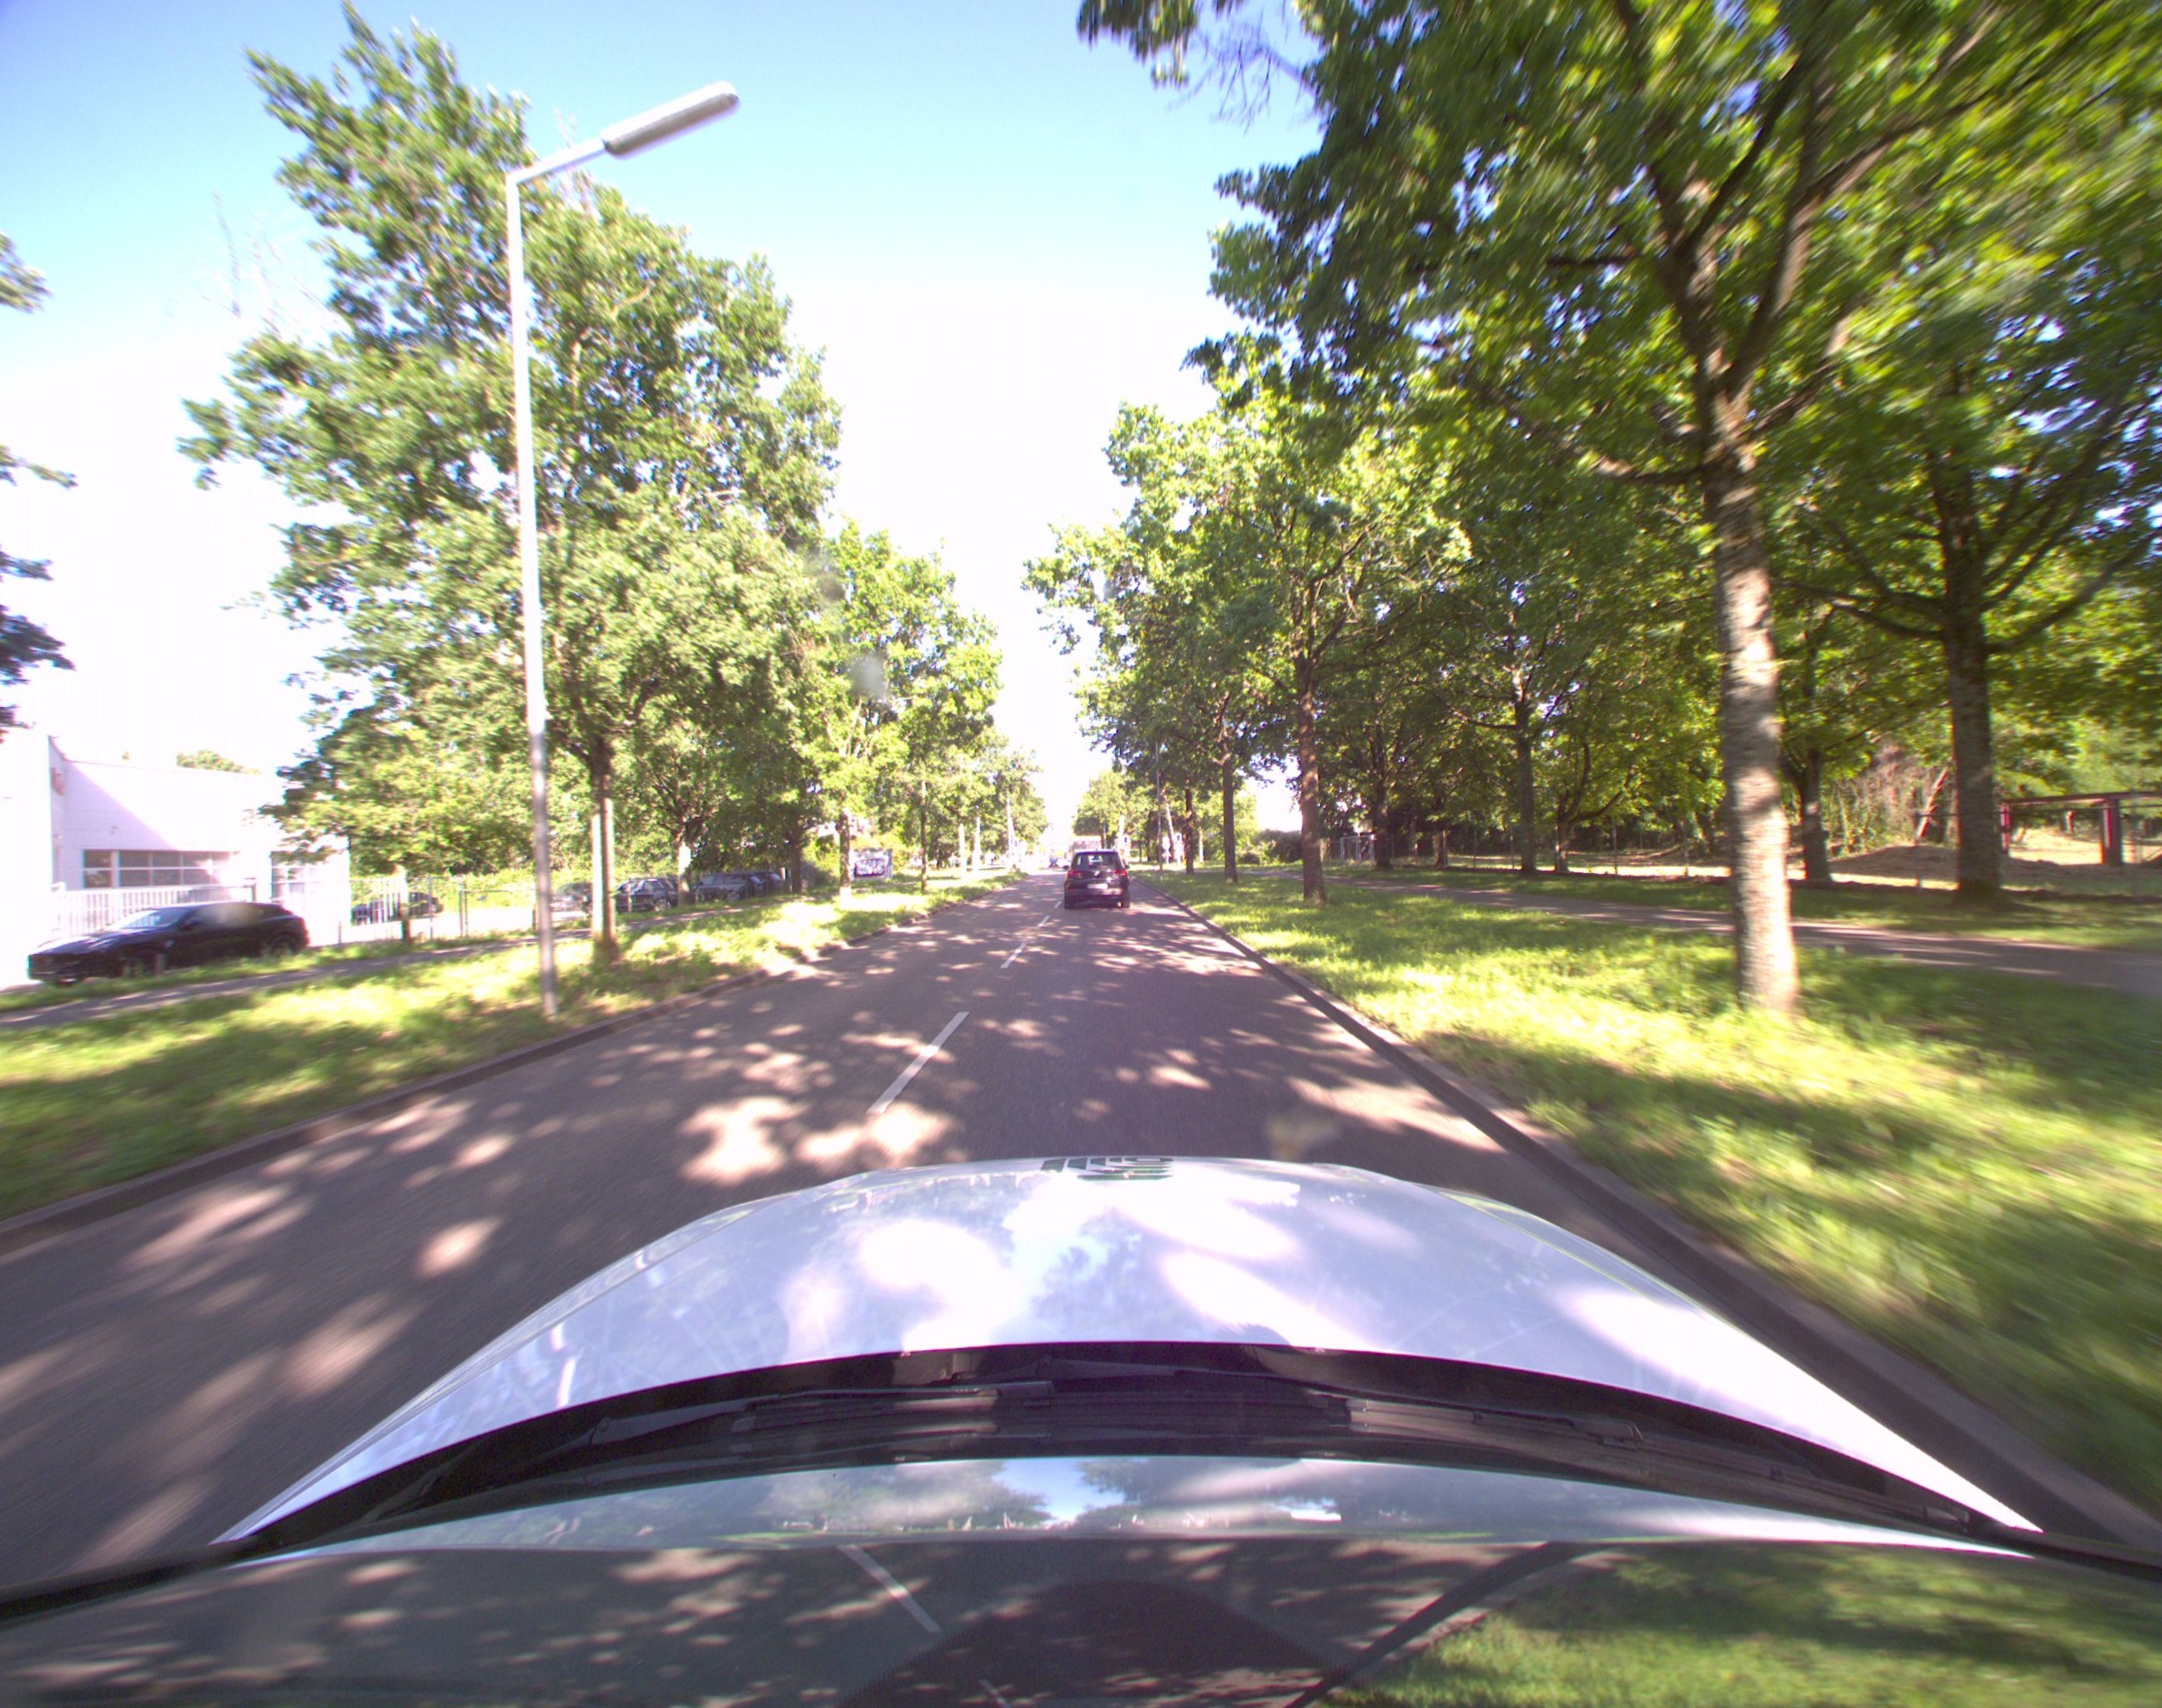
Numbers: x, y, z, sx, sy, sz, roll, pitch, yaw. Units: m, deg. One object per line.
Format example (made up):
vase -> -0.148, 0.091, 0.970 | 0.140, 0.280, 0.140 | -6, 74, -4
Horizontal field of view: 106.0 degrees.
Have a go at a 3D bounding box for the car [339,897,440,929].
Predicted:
car -> -40.539, 3.422, 47.940 | 1.990, 1.566, 4.877 | 0, 0, -4

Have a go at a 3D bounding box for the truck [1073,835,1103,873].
truck -> 0.638, -0.011, 74.931 | 2.503, 3.243, 8.152 | -2, 0, 0

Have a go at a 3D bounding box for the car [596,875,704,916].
car -> -20.076, 1.912, 38.116 | 3.981, 1.801, 1.996 | 0, 0, -6

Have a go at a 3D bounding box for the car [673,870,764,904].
car -> -20.375, 1.859, 45.897 | 4.181, 1.801, 1.998 | 0, 0, -4

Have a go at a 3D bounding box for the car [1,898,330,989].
car -> -21.012, 1.969, 19.140 | 1.986, 1.598, 5.016 | 0, 0, 1

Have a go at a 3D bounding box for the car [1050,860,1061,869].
car -> -4.186, 1.736, 133.195 | 1.559, 1.504, 4.003 | 0, 0, 3

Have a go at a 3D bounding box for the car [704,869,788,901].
car -> -20.014, 1.846, 48.748 | 4.181, 1.801, 1.998 | 0, 0, -4

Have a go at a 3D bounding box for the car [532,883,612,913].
car -> -30.545, 2.614, 49.054 | 1.990, 1.566, 4.877 | 0, 0, -4

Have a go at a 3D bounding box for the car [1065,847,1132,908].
car -> 0.489, 0.639, 23.751 | 1.776, 1.633, 4.000 | 0, 0, 1
